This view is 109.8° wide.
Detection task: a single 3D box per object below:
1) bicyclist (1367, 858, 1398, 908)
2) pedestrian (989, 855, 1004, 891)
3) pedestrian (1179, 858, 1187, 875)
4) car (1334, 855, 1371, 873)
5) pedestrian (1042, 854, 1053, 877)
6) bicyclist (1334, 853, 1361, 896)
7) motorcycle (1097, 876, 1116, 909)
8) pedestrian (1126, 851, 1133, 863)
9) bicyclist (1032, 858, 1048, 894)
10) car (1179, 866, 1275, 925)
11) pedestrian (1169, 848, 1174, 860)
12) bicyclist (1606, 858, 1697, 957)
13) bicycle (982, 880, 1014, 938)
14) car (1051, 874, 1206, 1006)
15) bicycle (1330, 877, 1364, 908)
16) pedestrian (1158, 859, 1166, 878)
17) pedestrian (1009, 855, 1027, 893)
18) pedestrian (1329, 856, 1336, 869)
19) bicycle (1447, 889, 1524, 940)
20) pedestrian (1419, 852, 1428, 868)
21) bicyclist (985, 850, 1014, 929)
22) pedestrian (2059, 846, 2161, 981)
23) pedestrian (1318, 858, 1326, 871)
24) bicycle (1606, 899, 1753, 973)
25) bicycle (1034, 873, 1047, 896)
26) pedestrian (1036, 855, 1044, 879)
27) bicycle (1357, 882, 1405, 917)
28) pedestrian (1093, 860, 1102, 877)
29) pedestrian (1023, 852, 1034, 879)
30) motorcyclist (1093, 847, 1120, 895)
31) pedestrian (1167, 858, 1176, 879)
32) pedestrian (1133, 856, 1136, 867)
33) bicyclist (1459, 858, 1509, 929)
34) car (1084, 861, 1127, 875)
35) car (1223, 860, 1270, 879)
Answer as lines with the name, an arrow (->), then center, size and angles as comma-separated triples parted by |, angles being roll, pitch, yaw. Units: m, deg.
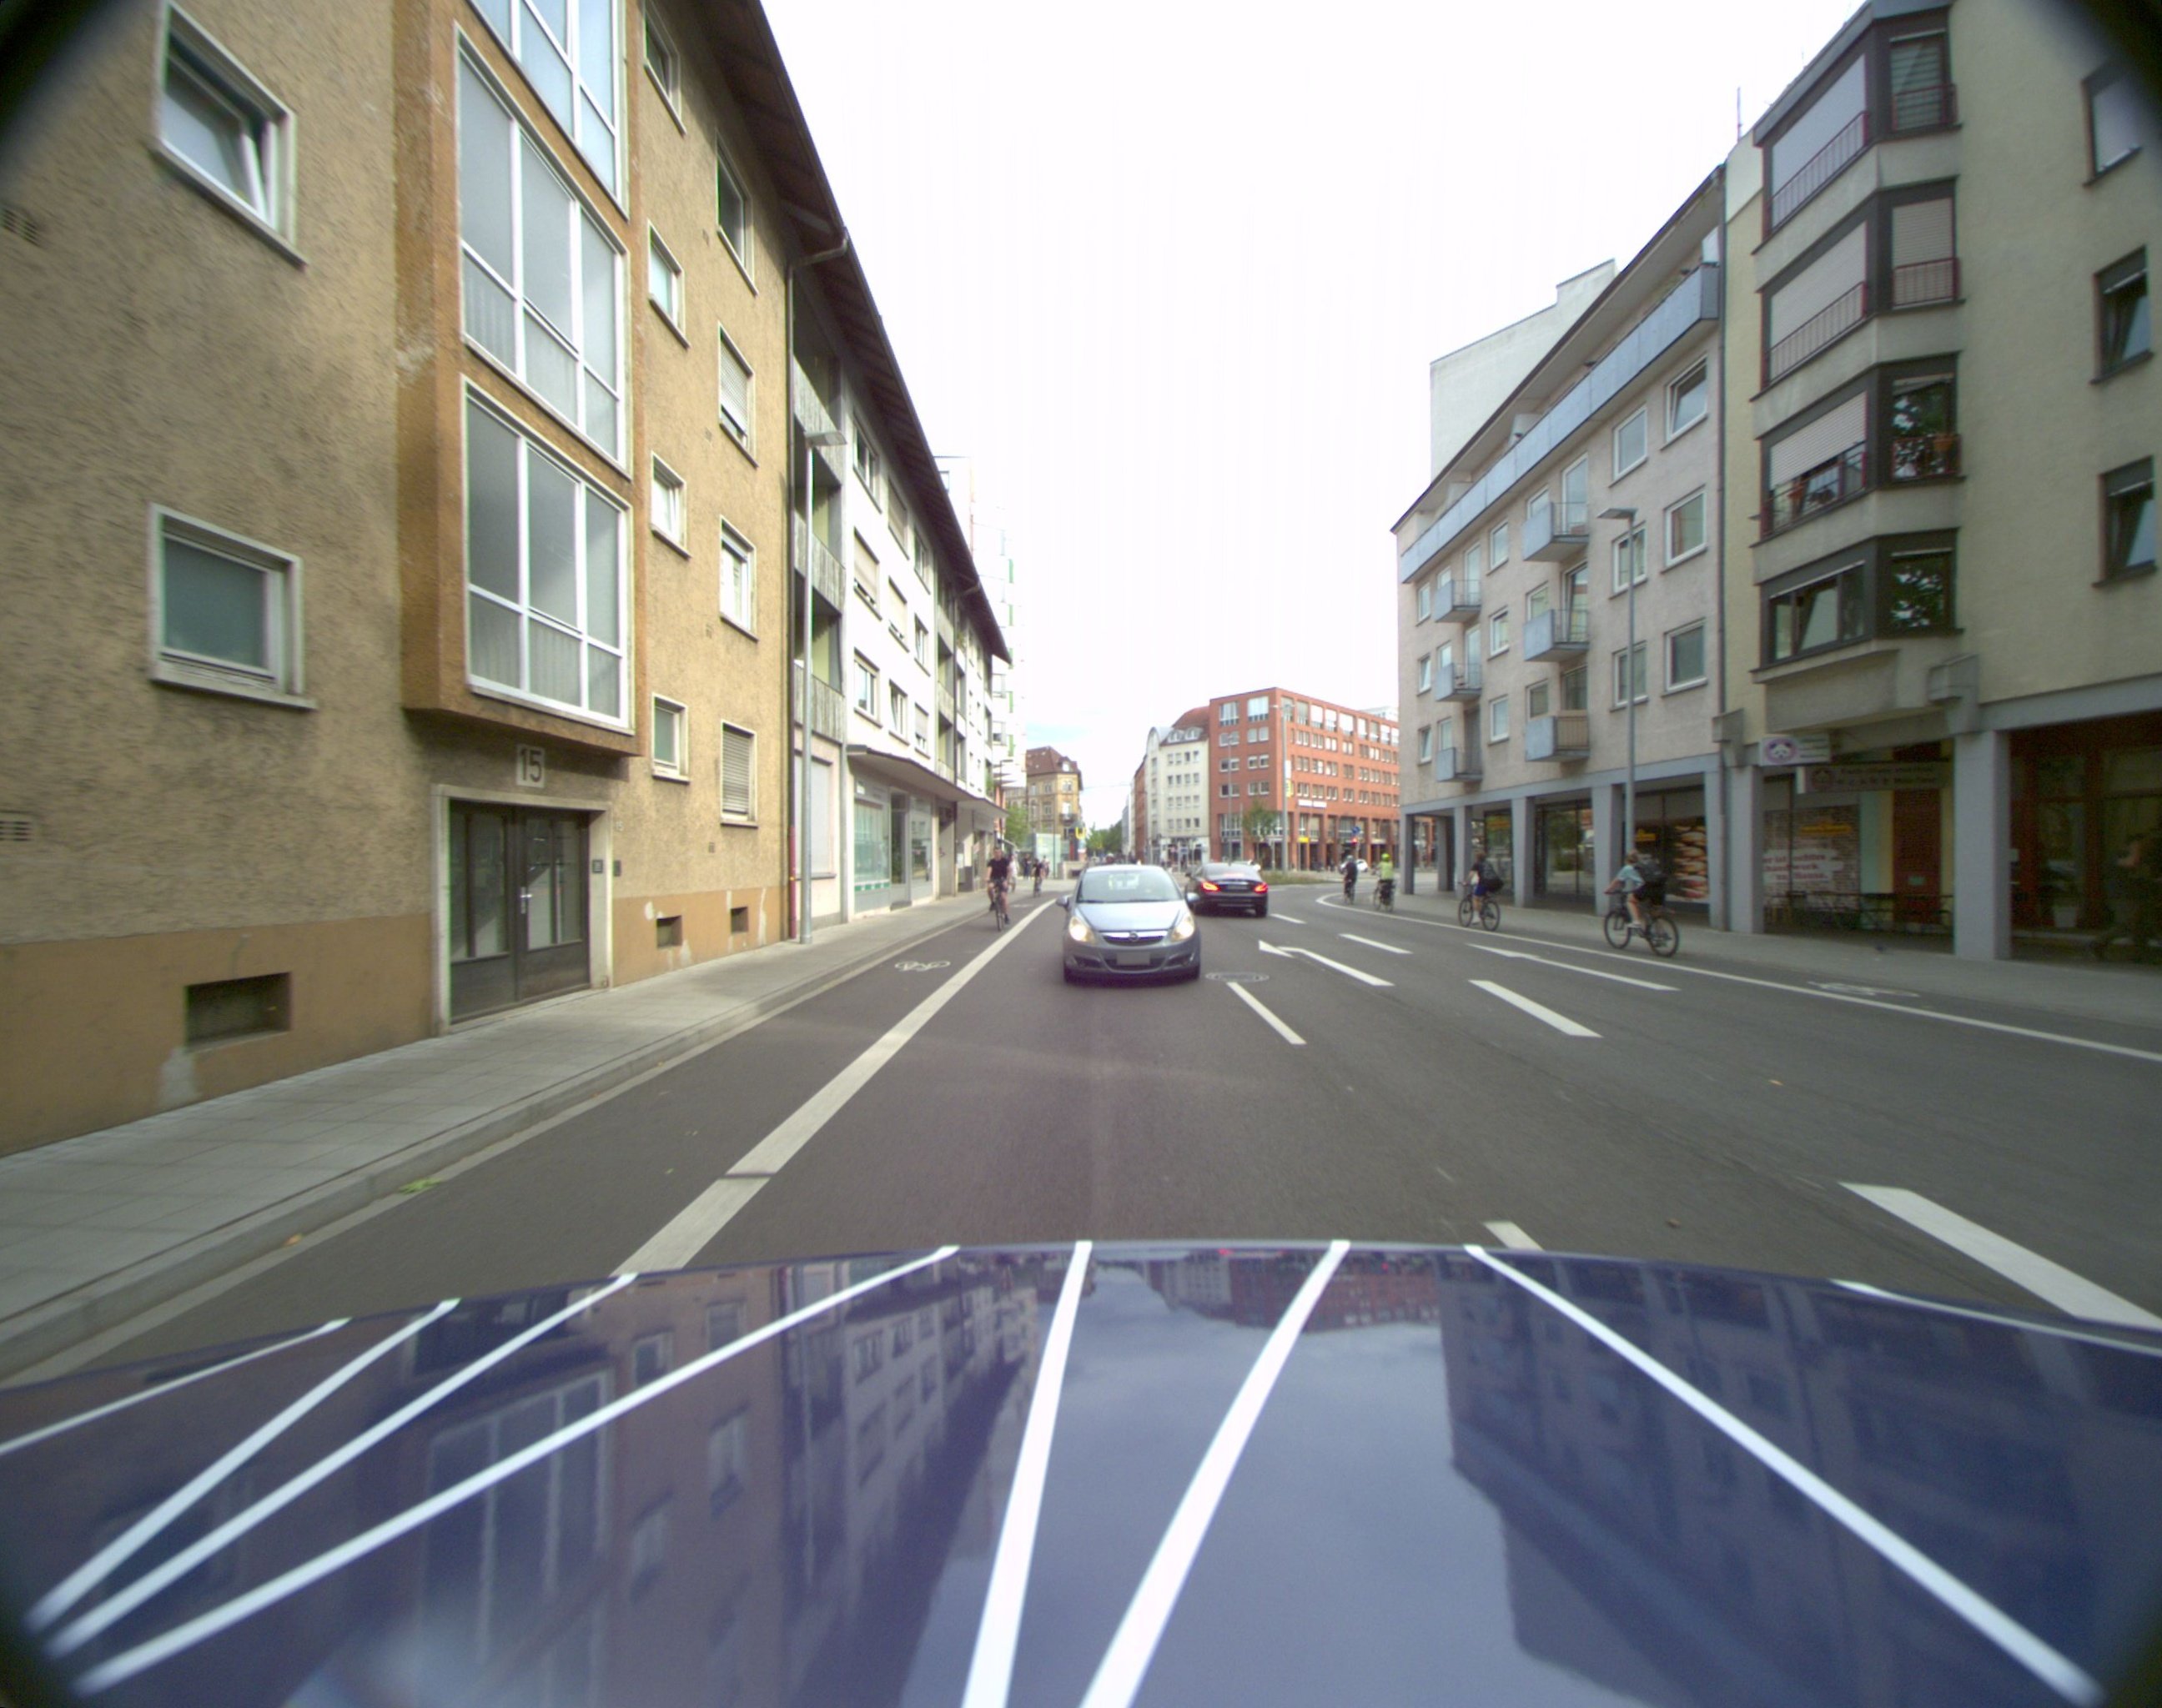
bicyclist -> 9.492, 0.919, 23.947 | 0.658, 1.516, 0.841 | -2, -1, 5
pedestrian -> -4.001, 0.884, 36.091 | 0.606, 1.659, 0.944 | 0, 0, -1
pedestrian -> 10.958, 1.341, 81.352 | 0.697, 1.813, 0.567 | 1, 0, -45
car -> 30.530, 1.120, 85.407 | 4.007, 1.867, 1.995 | -1, 0, -36
pedestrian -> -2.660, 0.914, 60.817 | 0.657, 1.841, 0.971 | 3, 1, 4
bicyclist -> 9.922, 0.761, 28.323 | 0.658, 1.517, 1.002 | -2, 2, 5
motorcycle -> 0.819, 1.213, 24.437 | 0.570, 0.962, 2.014 | 0, 0, 2
pedestrian -> 6.683, 0.430, 105.094 | 0.606, 1.675, 0.732 | -4, 1, -21
bicyclist -> -1.834, 0.977, 33.996 | 0.613, 1.593, 0.847 | -2, -1, -6
car -> 3.902, 1.061, 21.123 | 1.815, 1.399, 4.608 | 0, 0, 0
pedestrian -> 11.854, -0.006, 99.351 | 0.593, 1.502, 0.629 | 0, -1, -7
bicyclist -> 9.232, 0.848, 12.344 | 0.658, 1.516, 1.077 | -2, -1, 5
bicycle -> -1.818, 1.179, 16.787 | 0.407, 1.115, 2.017 | -2, 0, 1
car -> 0.652, 1.006, 10.488 | 1.723, 1.394, 4.001 | 0, 0, 4
bicycle -> 9.887, 1.416, 28.289 | 0.739, 1.001, 1.909 | -1, 2, 5
pedestrian -> 7.913, 1.384, 73.897 | 0.675, 1.789, 0.887 | 2, 0, 5
pedestrian -> -2.973, 0.932, 35.863 | 0.753, 1.740, 0.859 | 0, 0, 0
pedestrian -> 32.767, 1.111, 98.965 | 0.645, 1.686, 0.699 | 2, 2, 43
bicycle -> 8.979, 1.315, 16.957 | 0.739, 1.001, 1.977 | -2, -2, 4
pedestrian -> 40.931, 0.688, 90.702 | 0.808, 1.864, 0.692 | 0, 0, -44
bicyclist -> -1.815, 0.778, 17.012 | 0.560, 1.699, 0.862 | 0, 0, 0
pedestrian -> 14.112, 0.779, 10.325 | 0.582, 1.747, 0.784 | -2, 0, 1
pedestrian -> 29.901, 1.302, 94.240 | 0.601, 1.677, 0.639 | 0, 0, -44
bicycle -> 9.600, 1.275, 12.328 | 0.739, 1.001, 2.196 | -2, -2, 4
bicycle -> -1.841, 1.372, 34.143 | 0.489, 0.994, 1.747 | -1, -1, -6
pedestrian -> -2.982, 0.937, 55.103 | 0.473, 1.663, 0.590 | 2, 0, 2
bicycle -> 9.378, 1.410, 23.845 | 0.739, 1.001, 2.253 | -2, -2, 5
pedestrian -> 1.703, 1.441, 77.228 | 0.708, 1.685, 0.633 | 0, 0, -44
pedestrian -> -3.837, 0.850, 55.208 | 0.673, 1.892, 0.590 | 2, 0, 2
motorcyclist -> 0.819, 0.535, 24.545 | 0.871, 1.507, 1.044 | 0, 0, 1
pedestrian -> 8.793, 1.401, 73.662 | 0.720, 1.959, 1.015 | 2, 0, 9
pedestrian -> 8.631, 1.188, 122.734 | 0.540, 1.712, 0.520 | 0, 1, 9
bicyclist -> 8.942, 0.877, 16.889 | 0.658, 1.516, 0.857 | -2, -1, 5
car -> 2.668, 1.524, 83.593 | 2.004, 1.503, 4.590 | -2, 1, -44
car -> 14.192, 1.296, 65.017 | 4.008, 1.592, 1.953 | 0, 0, -44
